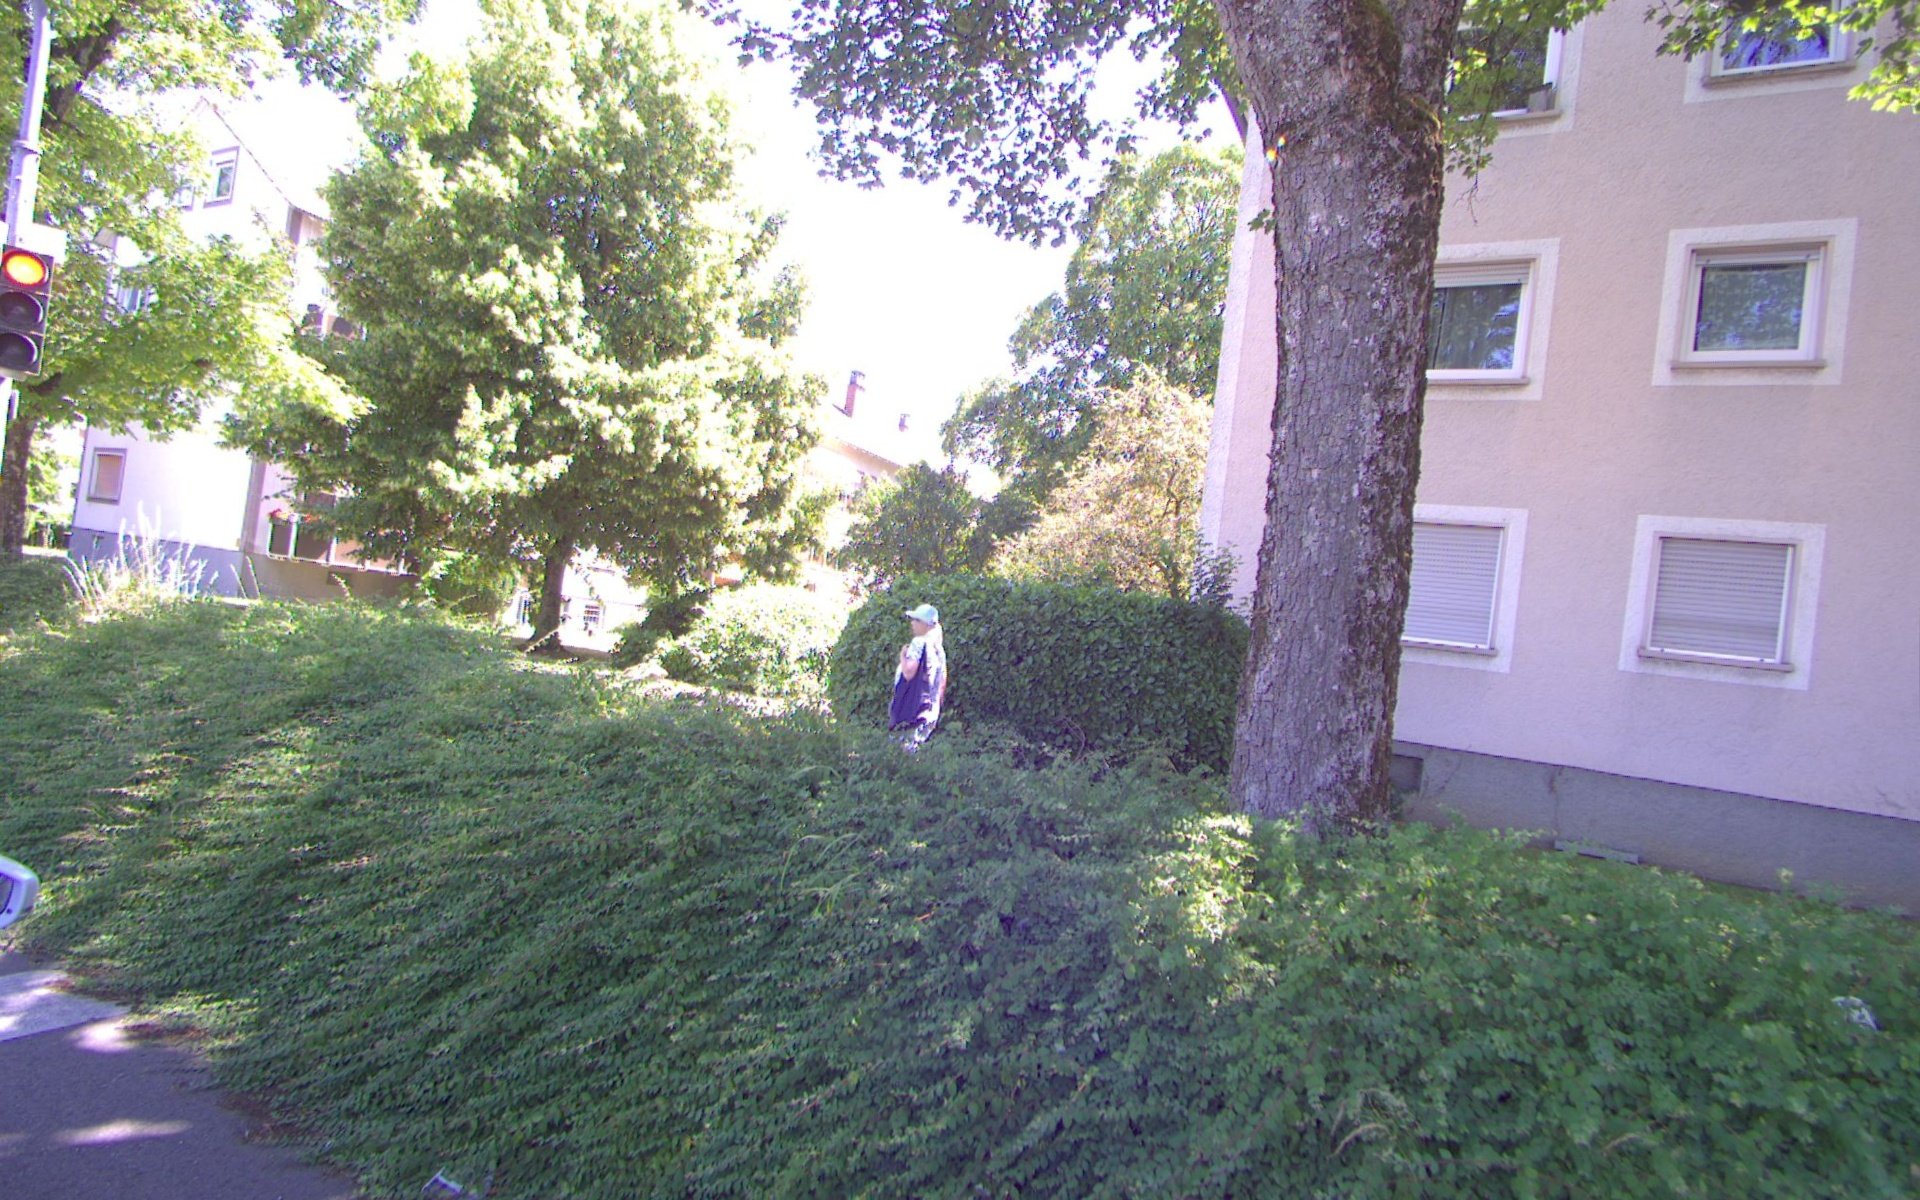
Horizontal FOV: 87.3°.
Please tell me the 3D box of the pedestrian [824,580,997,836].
[{"bbox_3d":[-0.341,0.752,7.268,0.836,1.653,0.720,7,0,23],"label":"pedestrian"}]
